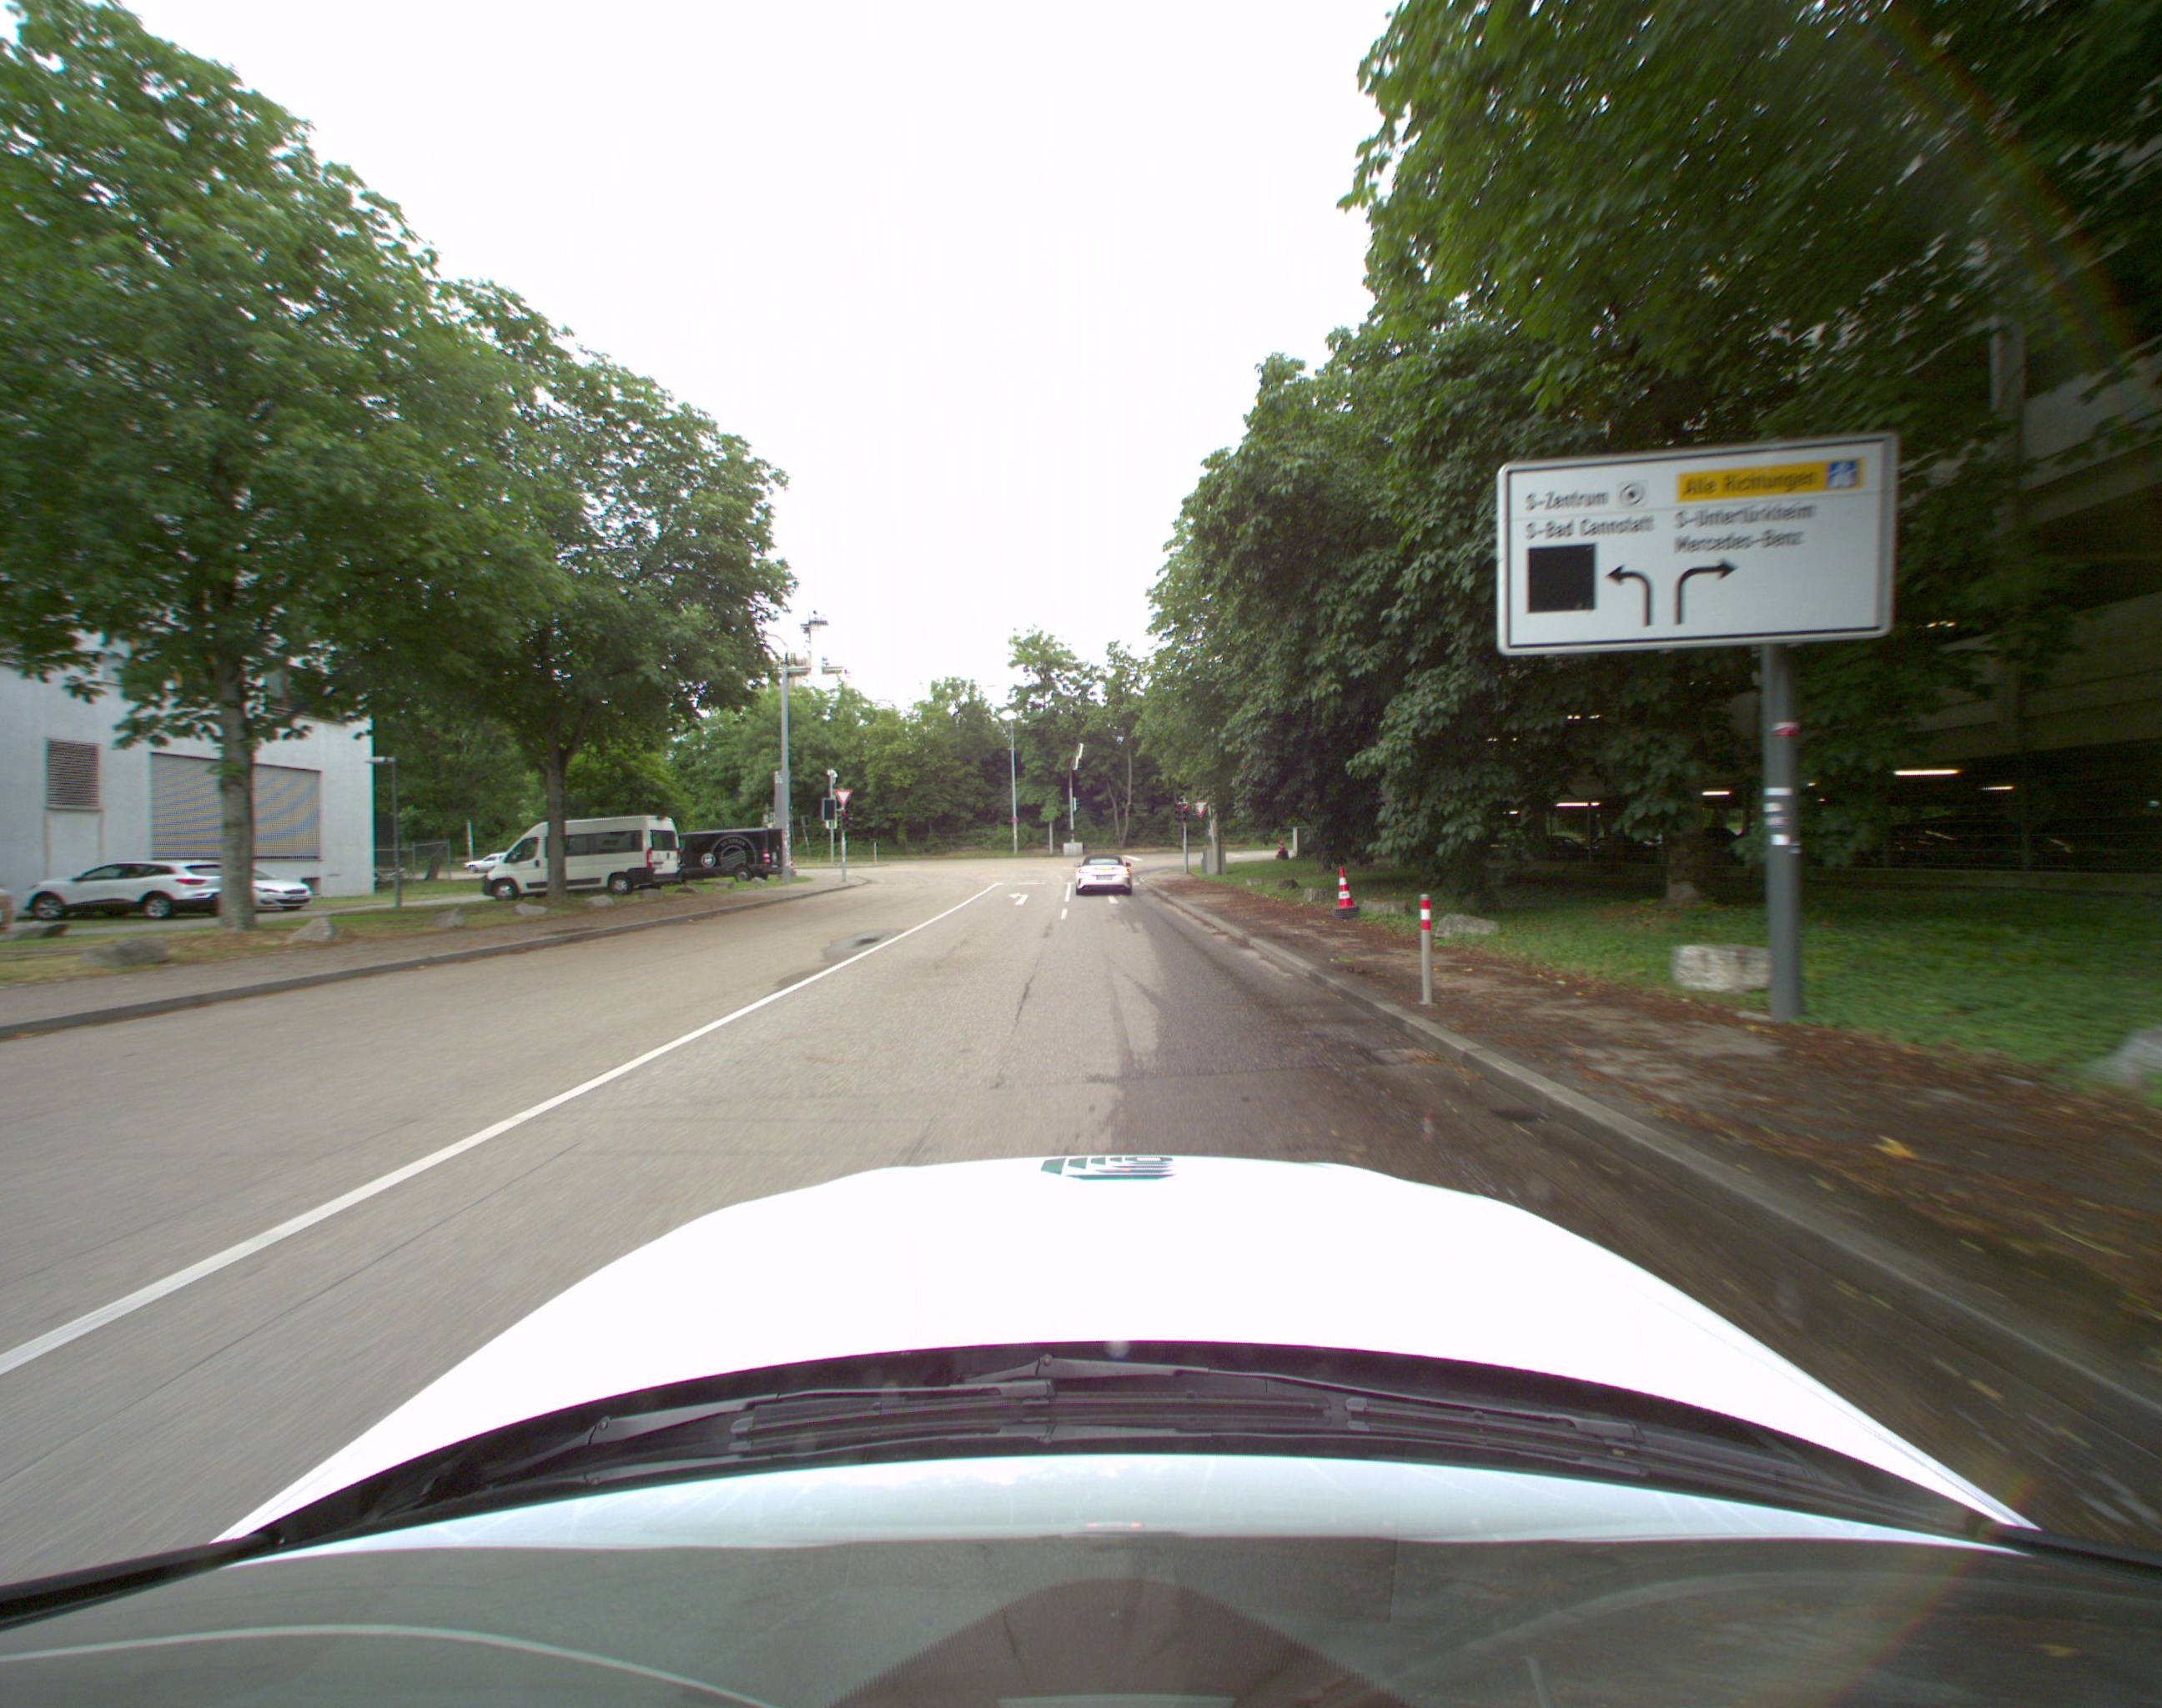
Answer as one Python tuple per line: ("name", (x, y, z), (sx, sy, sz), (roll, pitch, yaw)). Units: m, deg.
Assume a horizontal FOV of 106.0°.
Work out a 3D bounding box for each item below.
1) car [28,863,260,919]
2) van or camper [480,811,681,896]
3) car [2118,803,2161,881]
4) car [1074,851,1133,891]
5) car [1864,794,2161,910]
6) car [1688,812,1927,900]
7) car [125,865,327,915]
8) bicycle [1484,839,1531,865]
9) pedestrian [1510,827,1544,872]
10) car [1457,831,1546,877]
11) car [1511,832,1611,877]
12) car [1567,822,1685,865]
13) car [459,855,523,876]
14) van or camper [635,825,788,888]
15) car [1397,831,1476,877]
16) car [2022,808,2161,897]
("car", (-25.945, 1.004, 22.697), (3.992, 1.456, 1.896), (0, -1, -5))
("van or camper", (-15.678, -0.006, 25.749), (4.958, 2.570, 2.060), (0, -1, -3))
("car", (23.299, -0.276, 15.753), (1.712, 1.607, 3.699), (0, -1, -1))
("car", (0.713, 0.587, 28.287), (1.823, 1.257, 3.996), (0, -1, -2))
("car", (18.538, 0.001, 16.255), (1.986, 2.014, 4.000), (0, -1, 1))
("car", (18.421, 0.091, 21.035), (1.987, 2.014, 4.673), (0, -1, 0))
("car", (-26.245, 1.072, 25.128), (3.992, 1.456, 1.896), (0, -1, -5))
("bicycle", (12.559, -0.042, 24.002), (0.446, 0.736, 1.492), (0, -1, -8))
("pedestrian", (13.059, -0.126, 23.860), (0.638, 1.317, 0.636), (0, -1, -1))
("car", (16.491, 0.047, 32.129), (1.575, 1.708, 3.768), (0, -1, 0))
("car", (18.806, 0.054, 32.094), (1.724, 1.664, 3.718), (0, -1, 0))
("car", (21.441, -0.357, 32.254), (1.987, 1.552, 3.999), (0, -1, 0))
("car", (-41.016, 0.796, 56.637), (3.292, 1.421, 1.499), (0, -1, -2))
("van or camper", (-15.825, 0.119, 35.077), (5.516, 2.313, 2.062), (-3, -1, 1))
("car", (13.969, 0.046, 32.221), (1.476, 1.708, 3.718), (0, -1, 0))
("car", (21.329, -0.021, 15.836), (1.712, 1.680, 3.699), (0, -1, -1))
